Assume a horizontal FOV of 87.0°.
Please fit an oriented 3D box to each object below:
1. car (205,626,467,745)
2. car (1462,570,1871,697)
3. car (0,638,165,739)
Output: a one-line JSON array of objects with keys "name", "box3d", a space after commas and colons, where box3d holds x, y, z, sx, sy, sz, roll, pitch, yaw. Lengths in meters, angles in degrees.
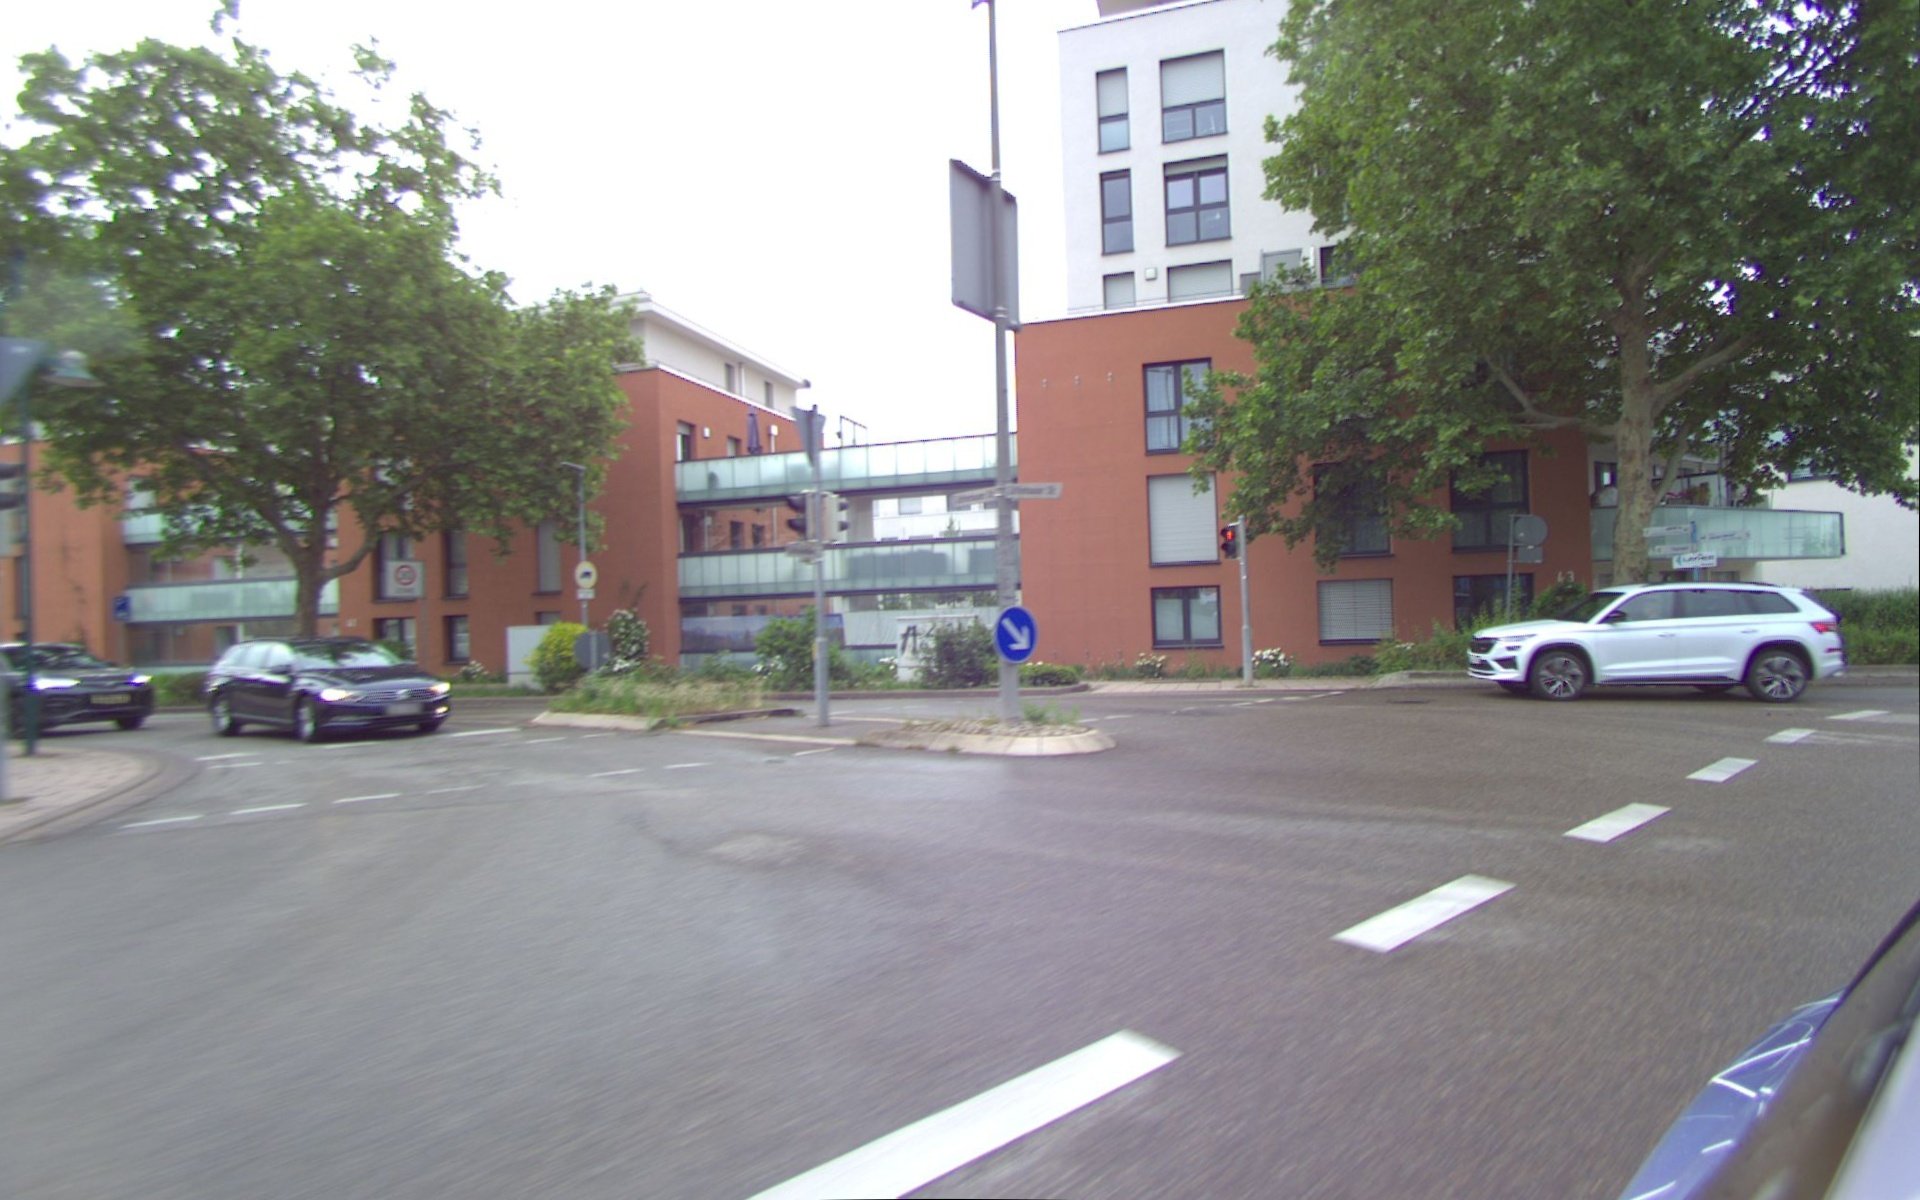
[{"name": "car", "box3d": [-9.324, 1.212, 15.017, 4.131, 1.481, 1.865, -3, -2, 35]}, {"name": "car", "box3d": [10.095, 0.493, 14.843, 4.545, 1.659, 1.666, -2, -1, 12]}, {"name": "car", "box3d": [-16.322, 1.547, 17.971, 3.889, 1.576, 1.794, -3, -2, 22]}]
